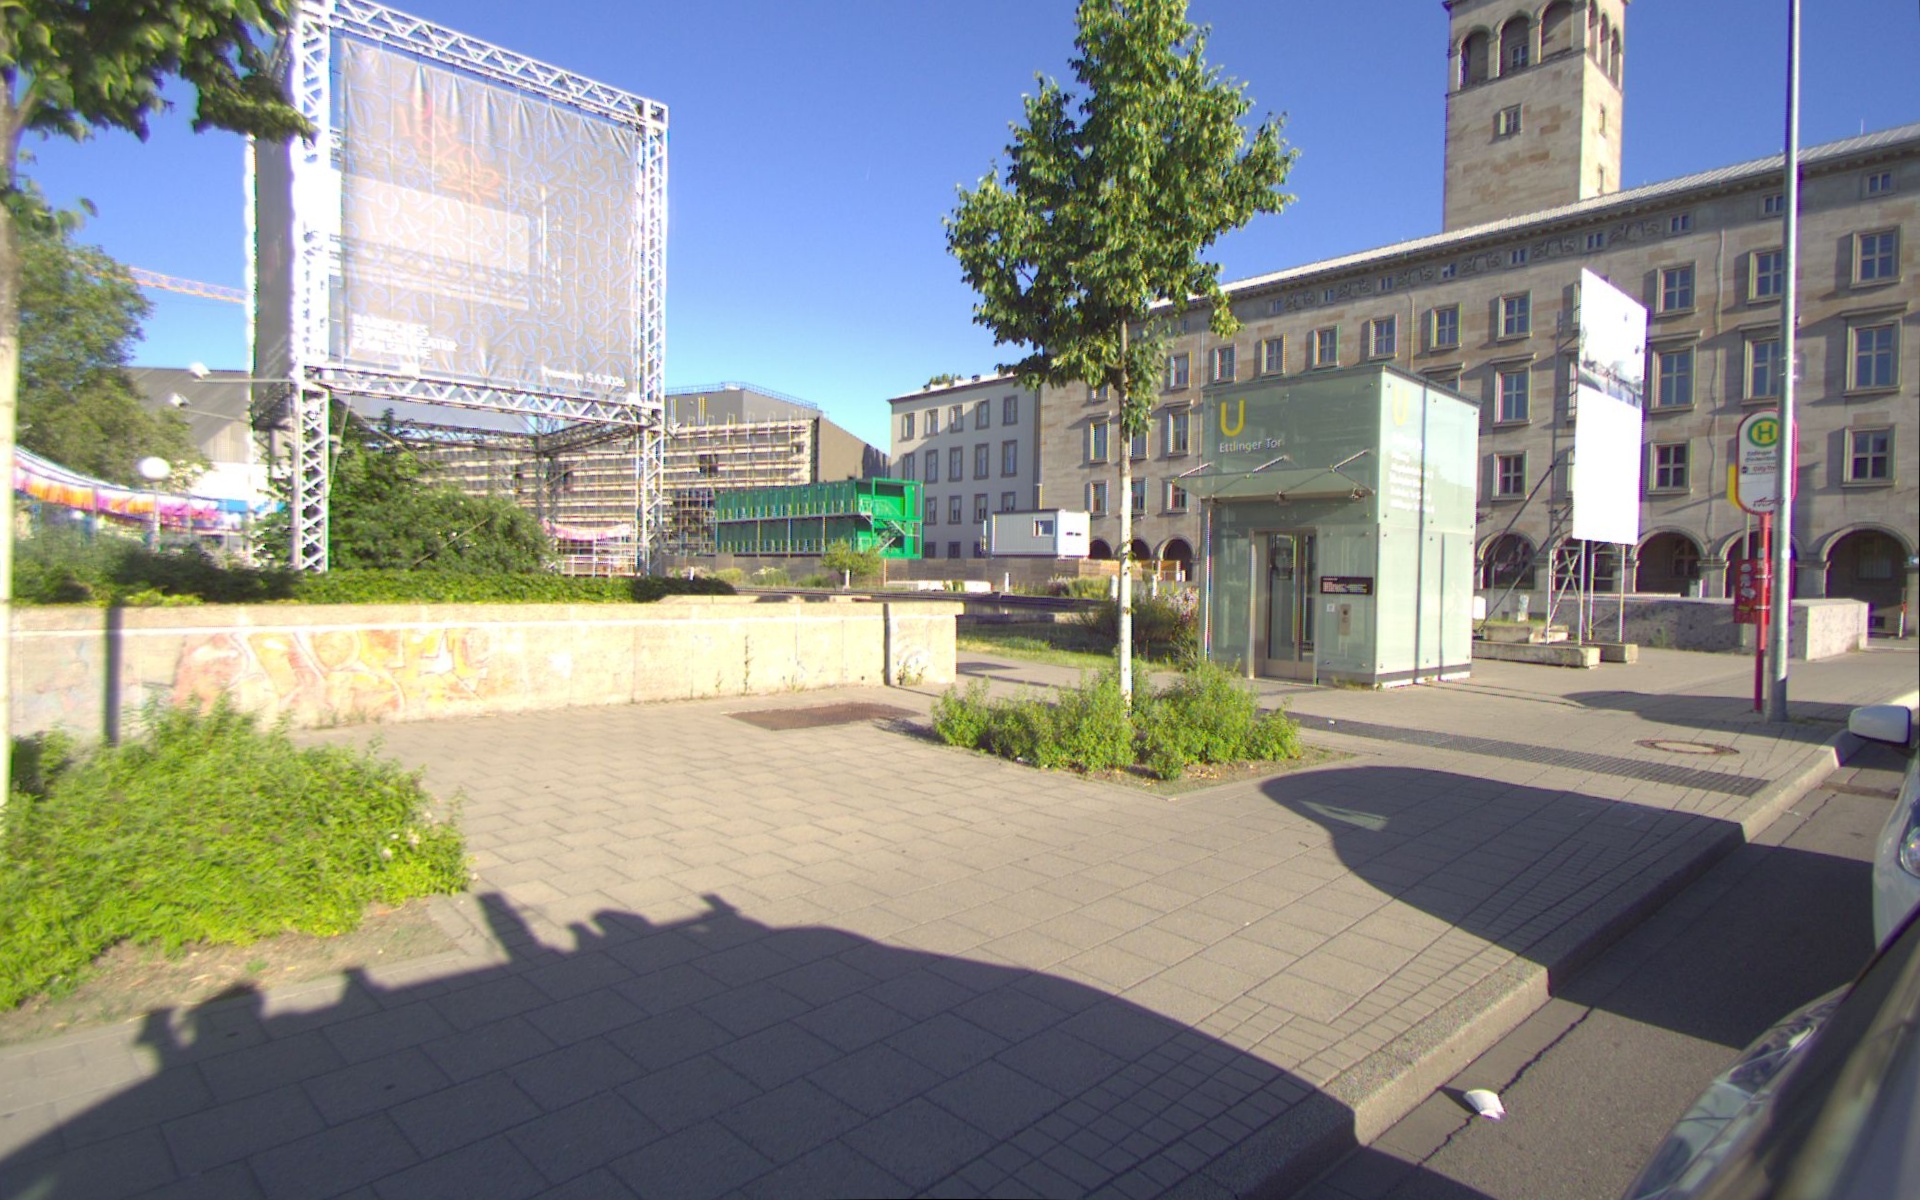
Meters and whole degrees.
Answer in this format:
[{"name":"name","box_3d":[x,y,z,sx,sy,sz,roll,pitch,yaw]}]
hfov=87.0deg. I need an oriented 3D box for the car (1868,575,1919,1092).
[{"name":"car","box_3d":[4.646,0.681,3.667,3.930,1.473,1.518,0,2,-41]}]
